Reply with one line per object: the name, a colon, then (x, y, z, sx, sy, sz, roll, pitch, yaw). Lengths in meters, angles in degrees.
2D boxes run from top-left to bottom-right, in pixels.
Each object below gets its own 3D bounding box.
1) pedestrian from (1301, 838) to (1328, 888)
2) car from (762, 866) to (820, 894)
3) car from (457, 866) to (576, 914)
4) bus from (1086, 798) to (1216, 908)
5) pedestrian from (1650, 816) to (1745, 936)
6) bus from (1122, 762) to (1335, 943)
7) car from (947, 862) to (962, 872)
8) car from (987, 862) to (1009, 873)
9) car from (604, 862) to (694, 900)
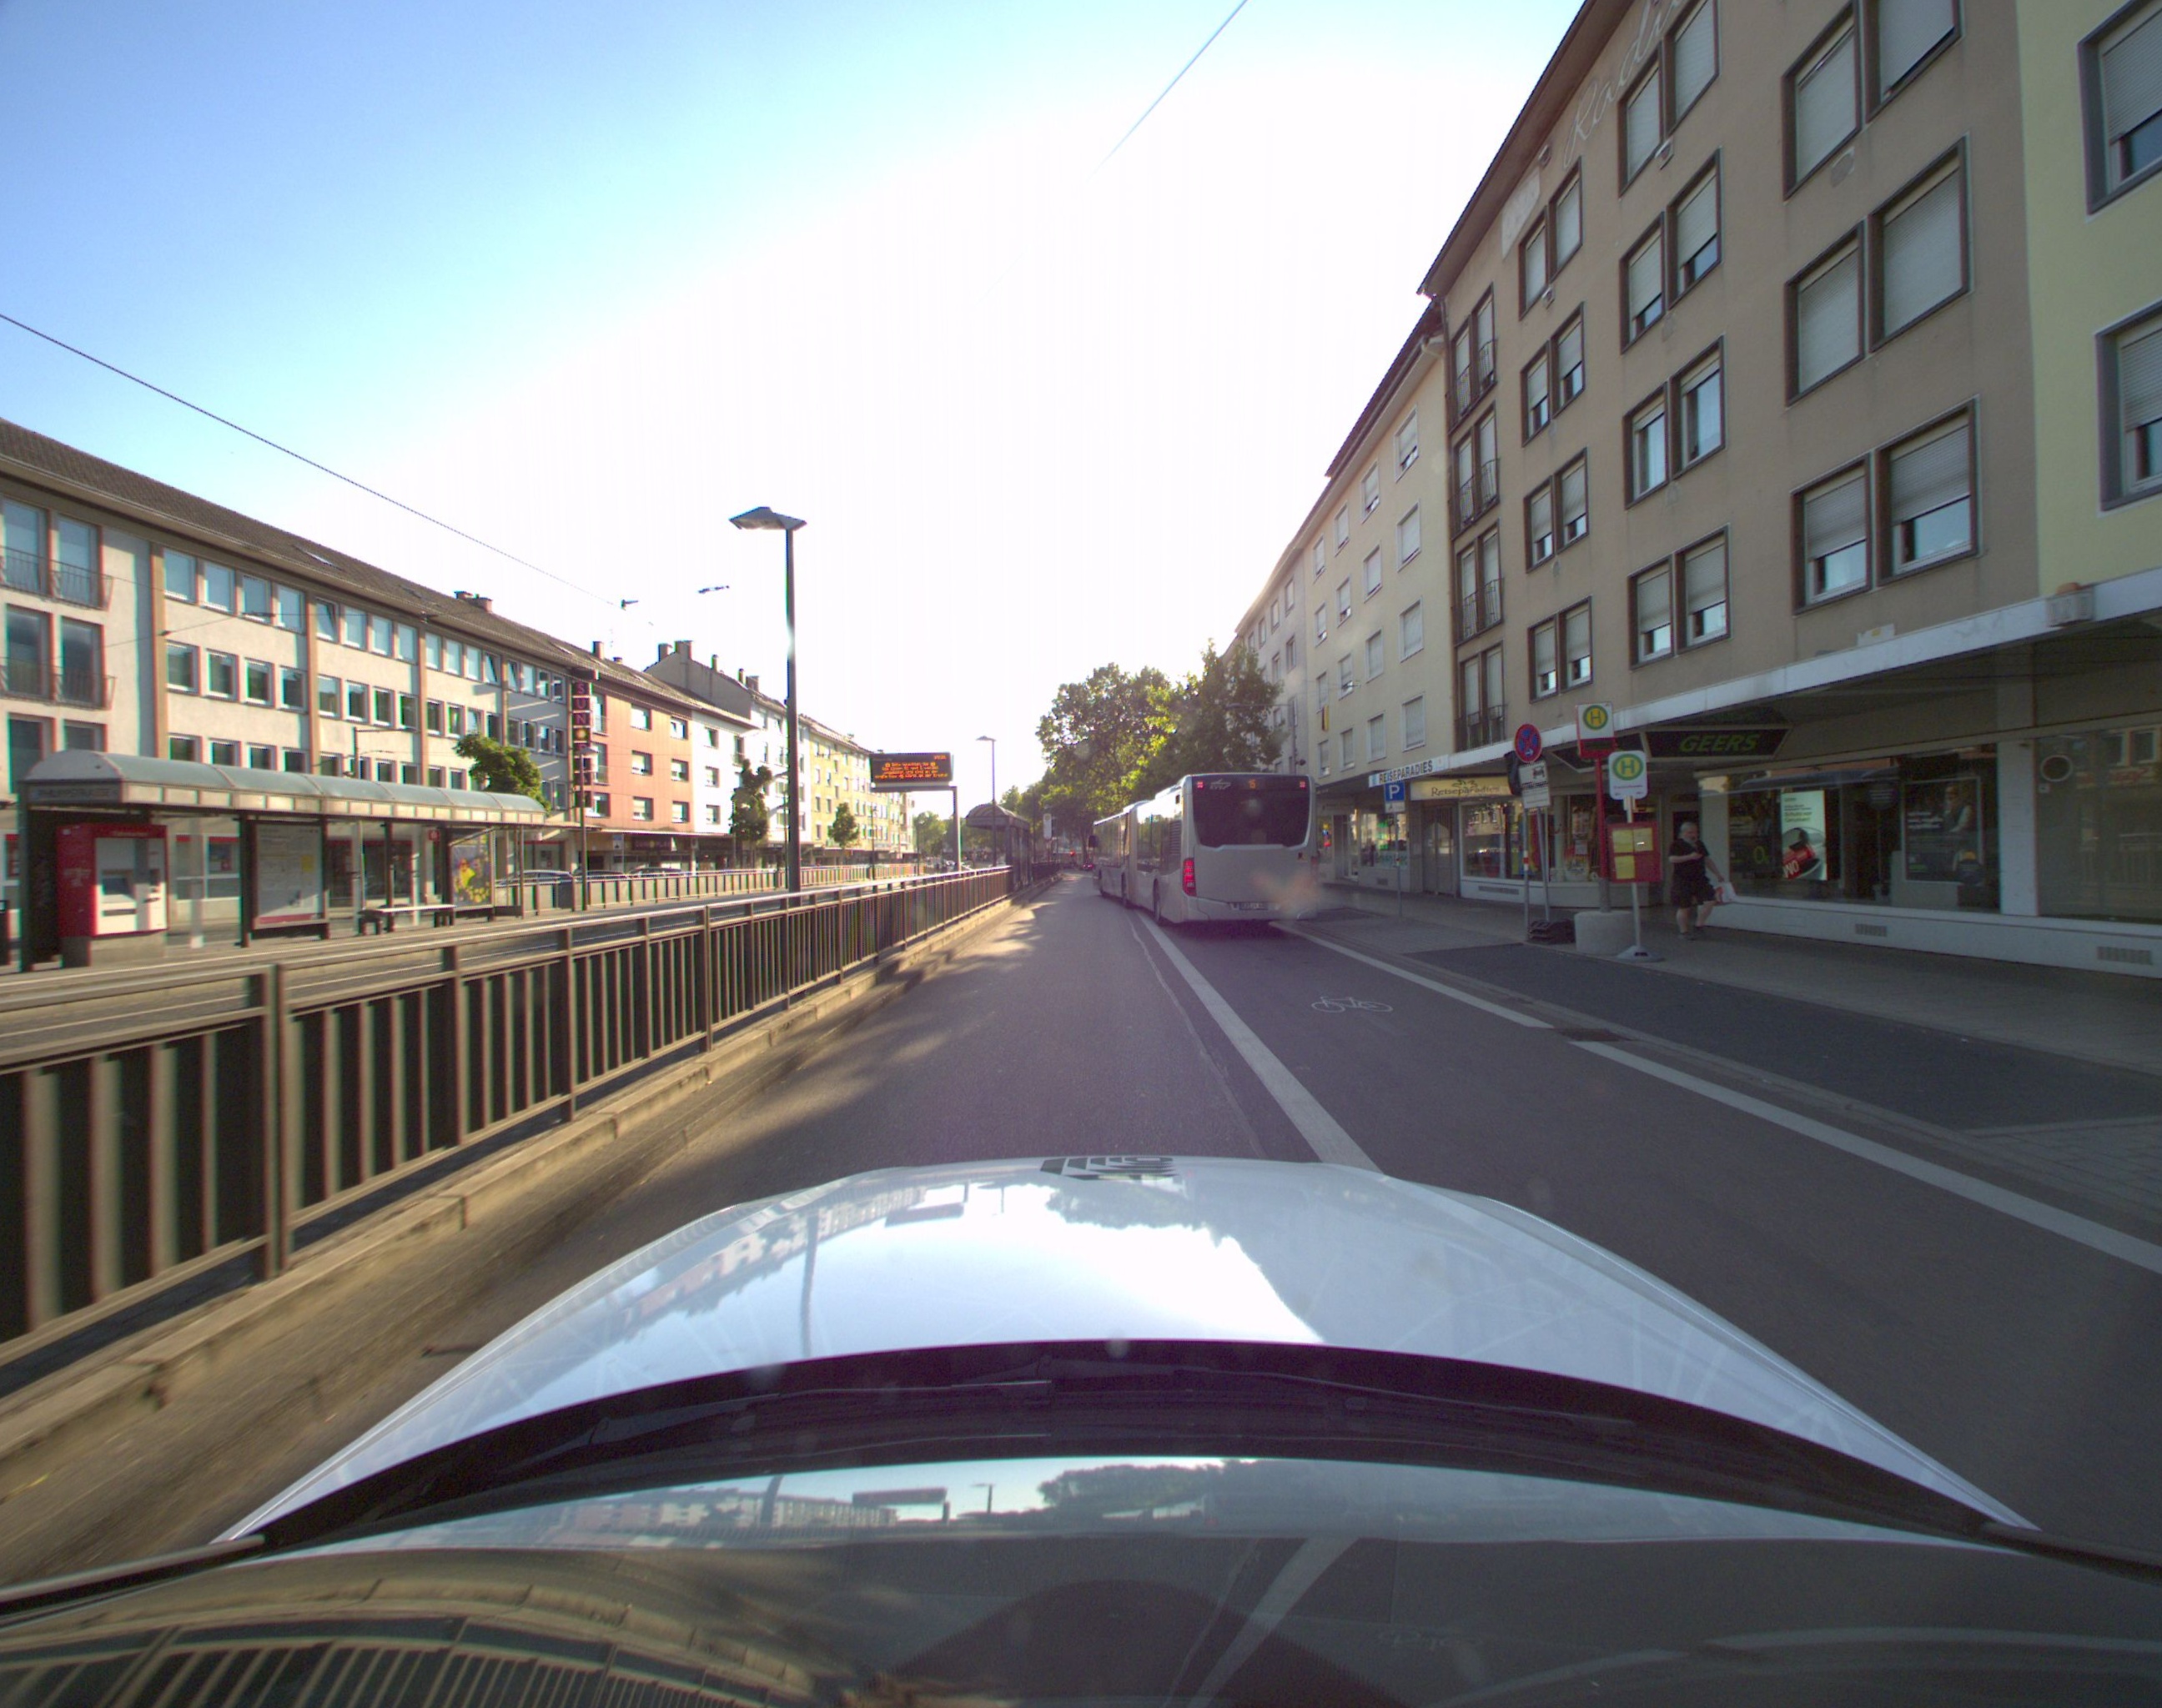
pedestrian: (8.611, 0.328, 30.010, 0.721, 1.795, 0.766, -2, 0, 1)
car: (-21.577, 1.894, 60.613, 3.532, 1.679, 1.749, -7, 4, -44)
car: (-22.318, 1.376, 32.264, 1.748, 1.679, 3.533, -2, 0, 41)
bus: (2.057, -0.039, 28.034, 2.693, 3.118, 9.049, -1, 0, -6)
pedestrian: (8.820, 0.306, 11.677, 0.721, 1.632, 0.766, -2, 0, 1)
bus: (2.845, -0.039, 19.019, 2.691, 3.118, 9.369, -1, 0, -4)
car: (-22.760, 2.291, 146.798, 1.986, 1.651, 4.001, -2, 0, 1)
car: (-16.002, 2.635, 156.938, 3.981, 2.013, 1.959, -2, 0, -5)
car: (-21.245, 1.312, 40.091, 3.531, 1.679, 1.749, -2, 0, -45)
